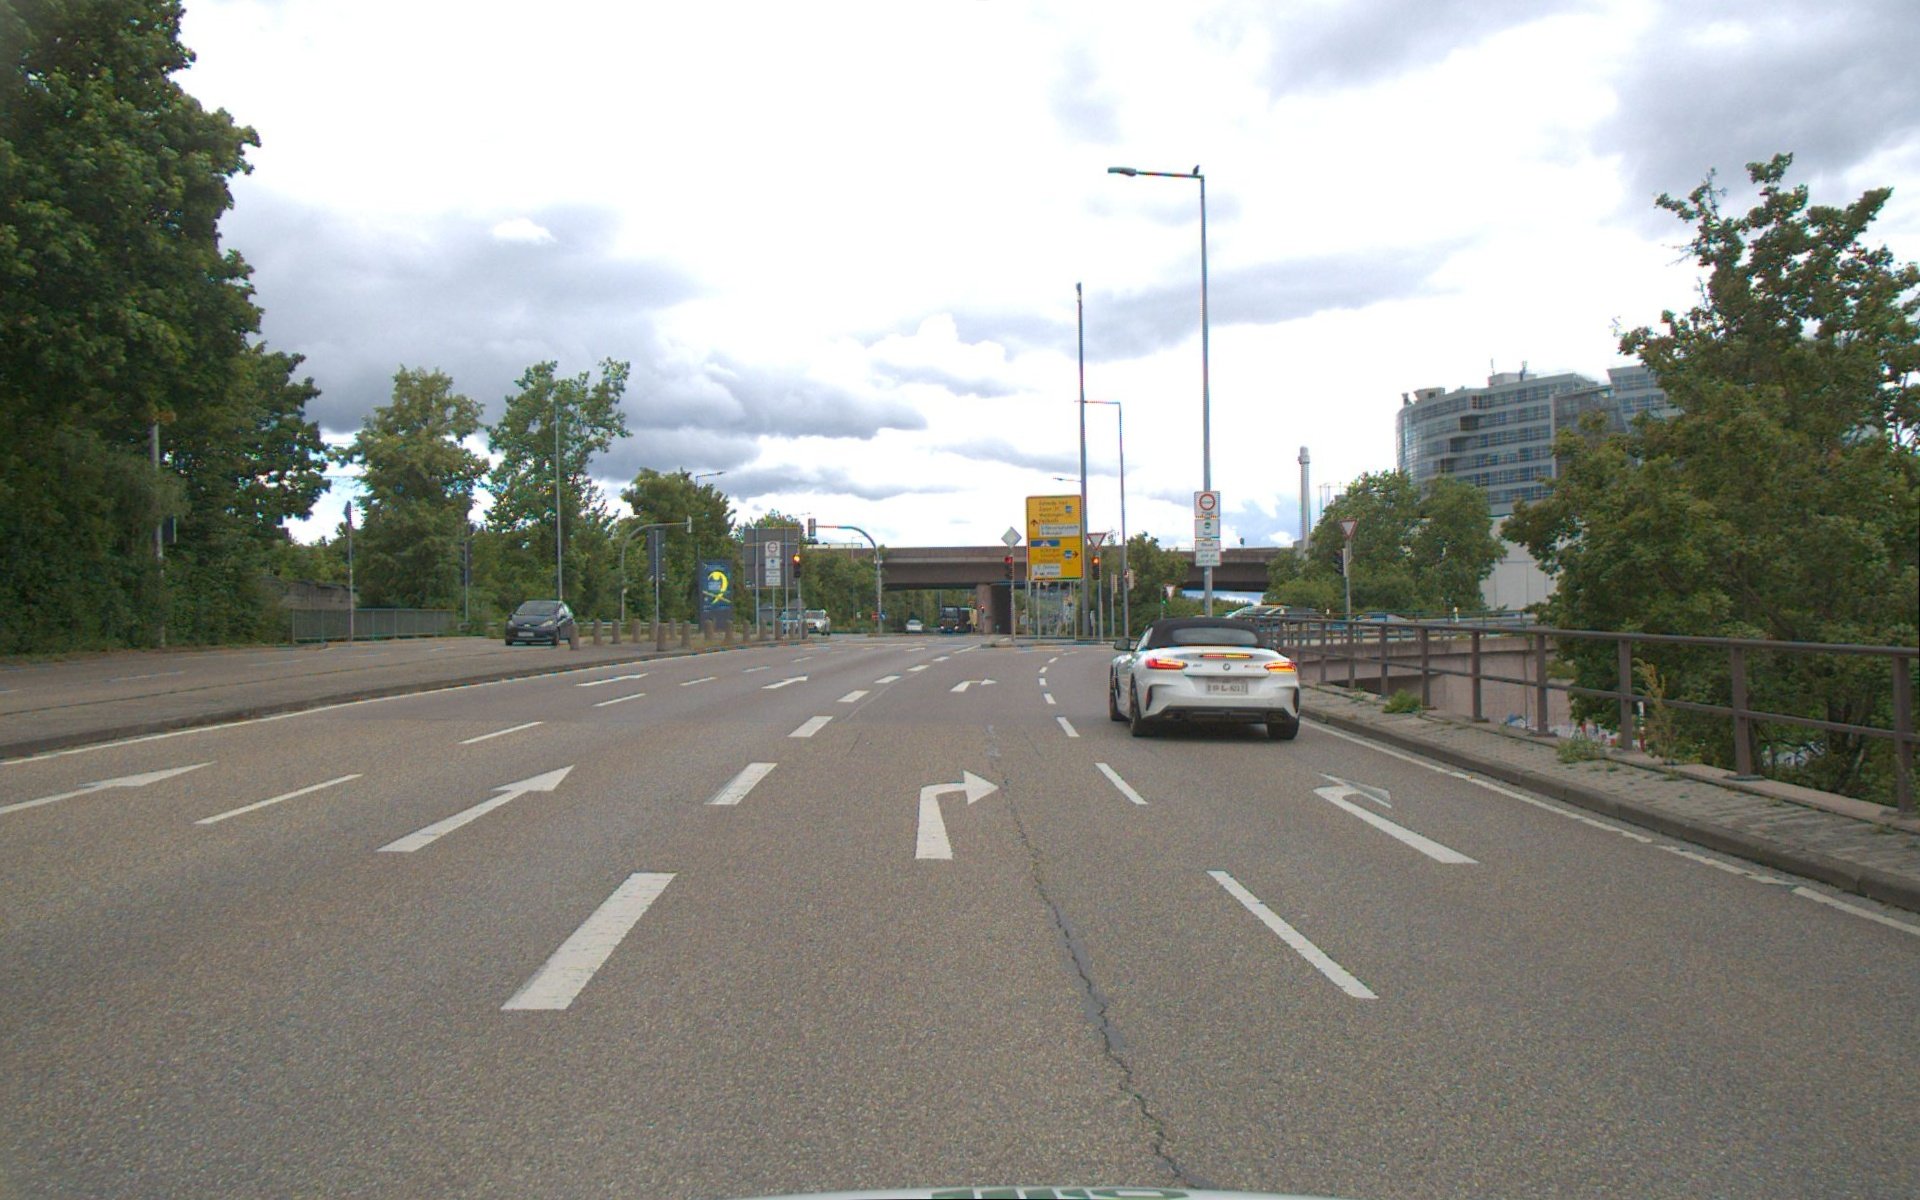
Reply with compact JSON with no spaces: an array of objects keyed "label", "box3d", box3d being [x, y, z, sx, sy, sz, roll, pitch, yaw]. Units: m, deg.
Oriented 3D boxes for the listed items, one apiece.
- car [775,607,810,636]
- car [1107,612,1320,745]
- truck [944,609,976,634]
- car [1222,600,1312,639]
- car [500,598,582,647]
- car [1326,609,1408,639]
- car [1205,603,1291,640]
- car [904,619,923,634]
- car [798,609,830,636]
[{"label":"car","box3d":[-10.136,1.314,100.217,1.735,1.674,3.824,1,-1,0]},{"label":"car","box3d":[2.843,0.839,19.354,1.837,1.332,3.872,1,0,-1]},{"label":"truck","box3d":[0.082,2.864,216.671,2.861,3.201,10.118,1,-1,8]},{"label":"car","box3d":[15.549,1.004,83.920,4.280,1.789,2.001,-1,-2,3]},{"label":"car","box3d":[-13.625,0.723,53.923,1.724,1.510,3.484,2,0,0]},{"label":"car","box3d":[23.365,1.386,95.061,4.280,1.598,2.001,-1,-2,4]},{"label":"car","box3d":[15.234,1.161,87.684,4.280,1.789,2.001,-1,-2,4]},{"label":"car","box3d":[-4.908,2.772,175.149,1.704,1.564,3.673,0,0,3]},{"label":"car","box3d":[-9.521,1.460,108.107,1.735,1.661,3.824,1,-1,0]}]
